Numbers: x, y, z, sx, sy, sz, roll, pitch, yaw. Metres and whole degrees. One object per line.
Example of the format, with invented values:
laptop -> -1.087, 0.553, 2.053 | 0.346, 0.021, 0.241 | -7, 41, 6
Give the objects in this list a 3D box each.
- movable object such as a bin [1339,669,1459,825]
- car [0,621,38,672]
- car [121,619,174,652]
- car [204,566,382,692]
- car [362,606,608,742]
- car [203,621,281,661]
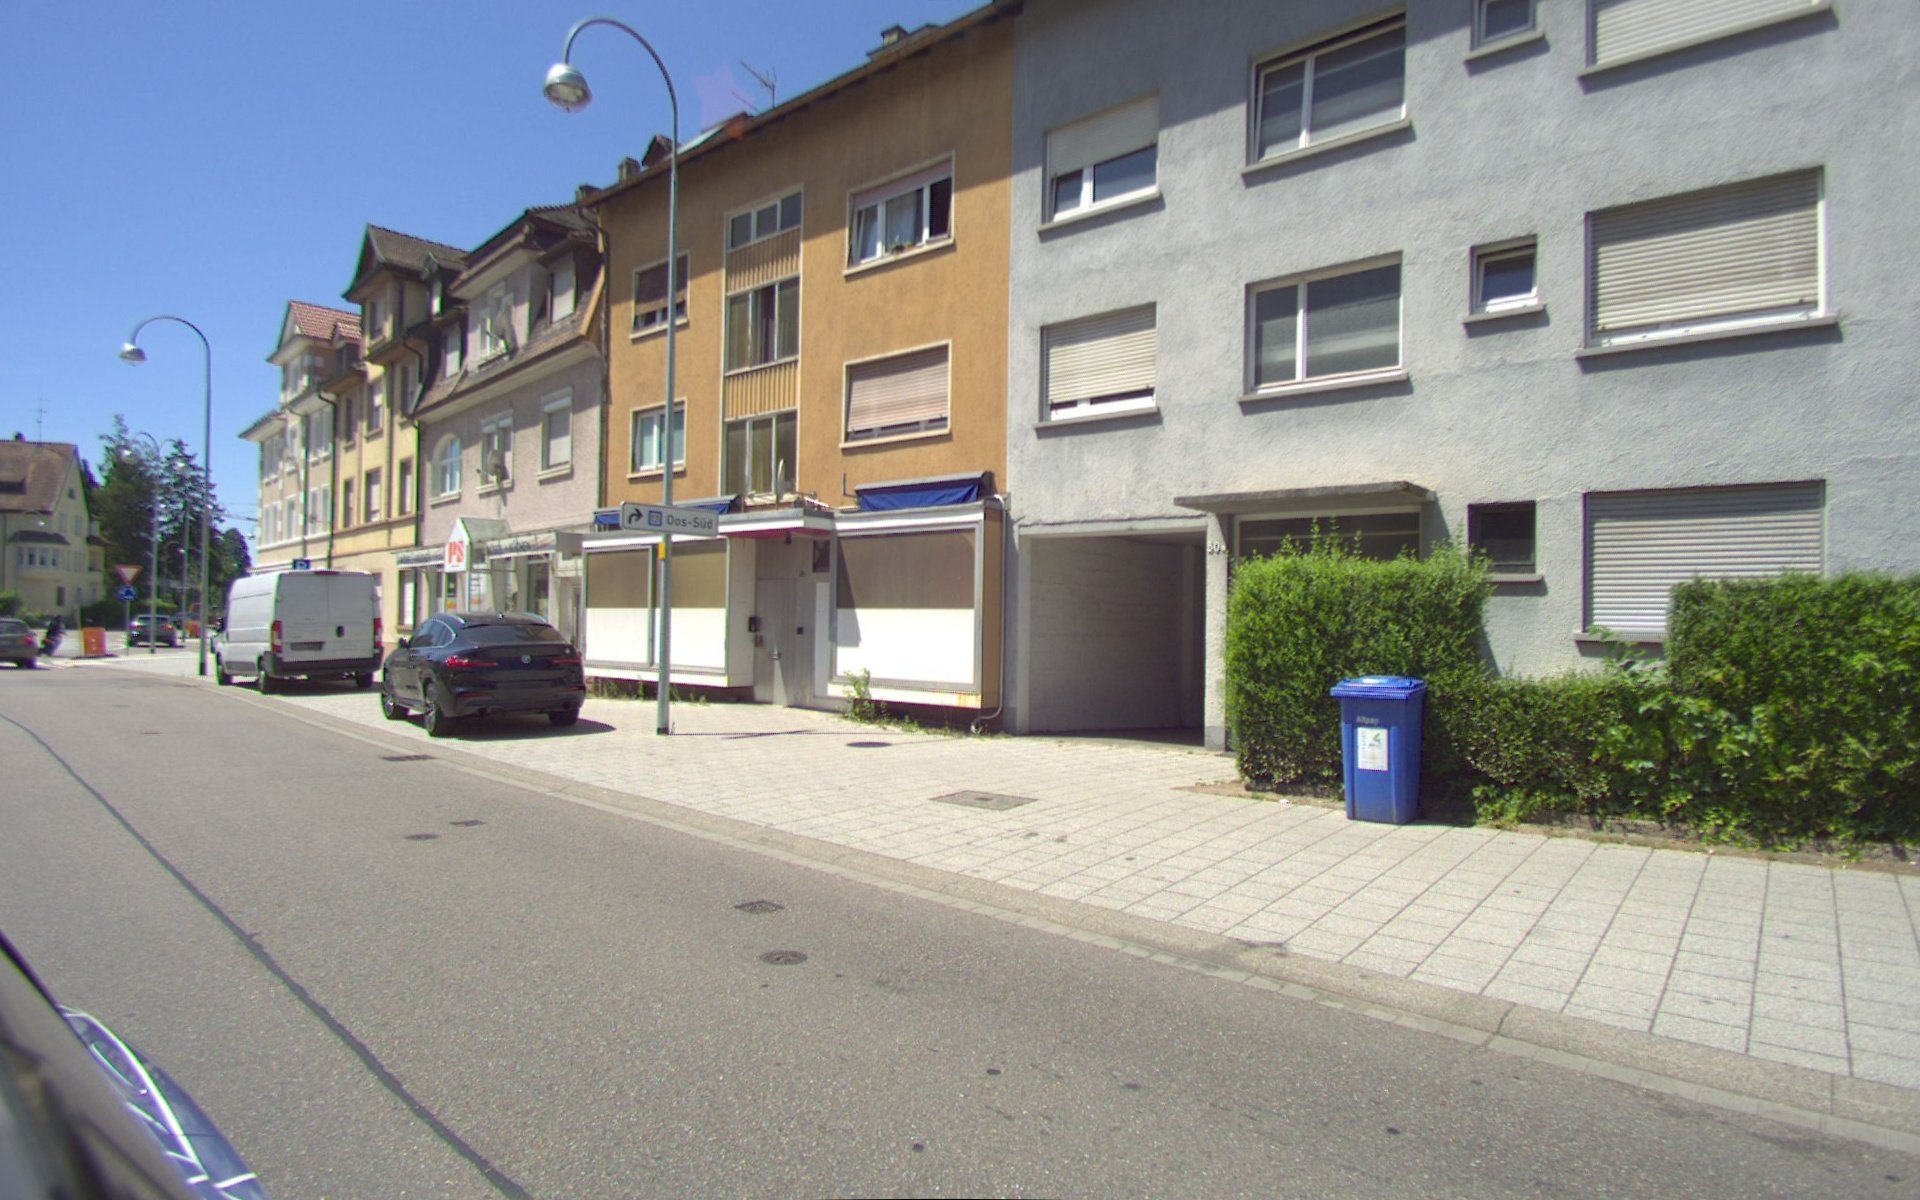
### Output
movable object such as a bin -> 3.252, 1.052, 7.497 | 0.652, 1.056, 0.666 | -1, -3, 40
car -> -28.316, 1.340, 29.537 | 4.000, 1.422, 1.712 | -2, -4, 43
car -> -40.546, 1.737, 50.564 | 1.772, 1.500, 4.401 | 1, 0, -35
car -> -15.082, 0.587, 22.701 | 6.120, 2.468, 2.095 | -1, 0, 44
car -> -7.136, 0.950, 14.855 | 2.059, 1.627, 5.117 | 0, -1, -40
car -> -28.704, 1.593, 40.394 | 1.773, 1.514, 4.950 | 1, -1, -44
